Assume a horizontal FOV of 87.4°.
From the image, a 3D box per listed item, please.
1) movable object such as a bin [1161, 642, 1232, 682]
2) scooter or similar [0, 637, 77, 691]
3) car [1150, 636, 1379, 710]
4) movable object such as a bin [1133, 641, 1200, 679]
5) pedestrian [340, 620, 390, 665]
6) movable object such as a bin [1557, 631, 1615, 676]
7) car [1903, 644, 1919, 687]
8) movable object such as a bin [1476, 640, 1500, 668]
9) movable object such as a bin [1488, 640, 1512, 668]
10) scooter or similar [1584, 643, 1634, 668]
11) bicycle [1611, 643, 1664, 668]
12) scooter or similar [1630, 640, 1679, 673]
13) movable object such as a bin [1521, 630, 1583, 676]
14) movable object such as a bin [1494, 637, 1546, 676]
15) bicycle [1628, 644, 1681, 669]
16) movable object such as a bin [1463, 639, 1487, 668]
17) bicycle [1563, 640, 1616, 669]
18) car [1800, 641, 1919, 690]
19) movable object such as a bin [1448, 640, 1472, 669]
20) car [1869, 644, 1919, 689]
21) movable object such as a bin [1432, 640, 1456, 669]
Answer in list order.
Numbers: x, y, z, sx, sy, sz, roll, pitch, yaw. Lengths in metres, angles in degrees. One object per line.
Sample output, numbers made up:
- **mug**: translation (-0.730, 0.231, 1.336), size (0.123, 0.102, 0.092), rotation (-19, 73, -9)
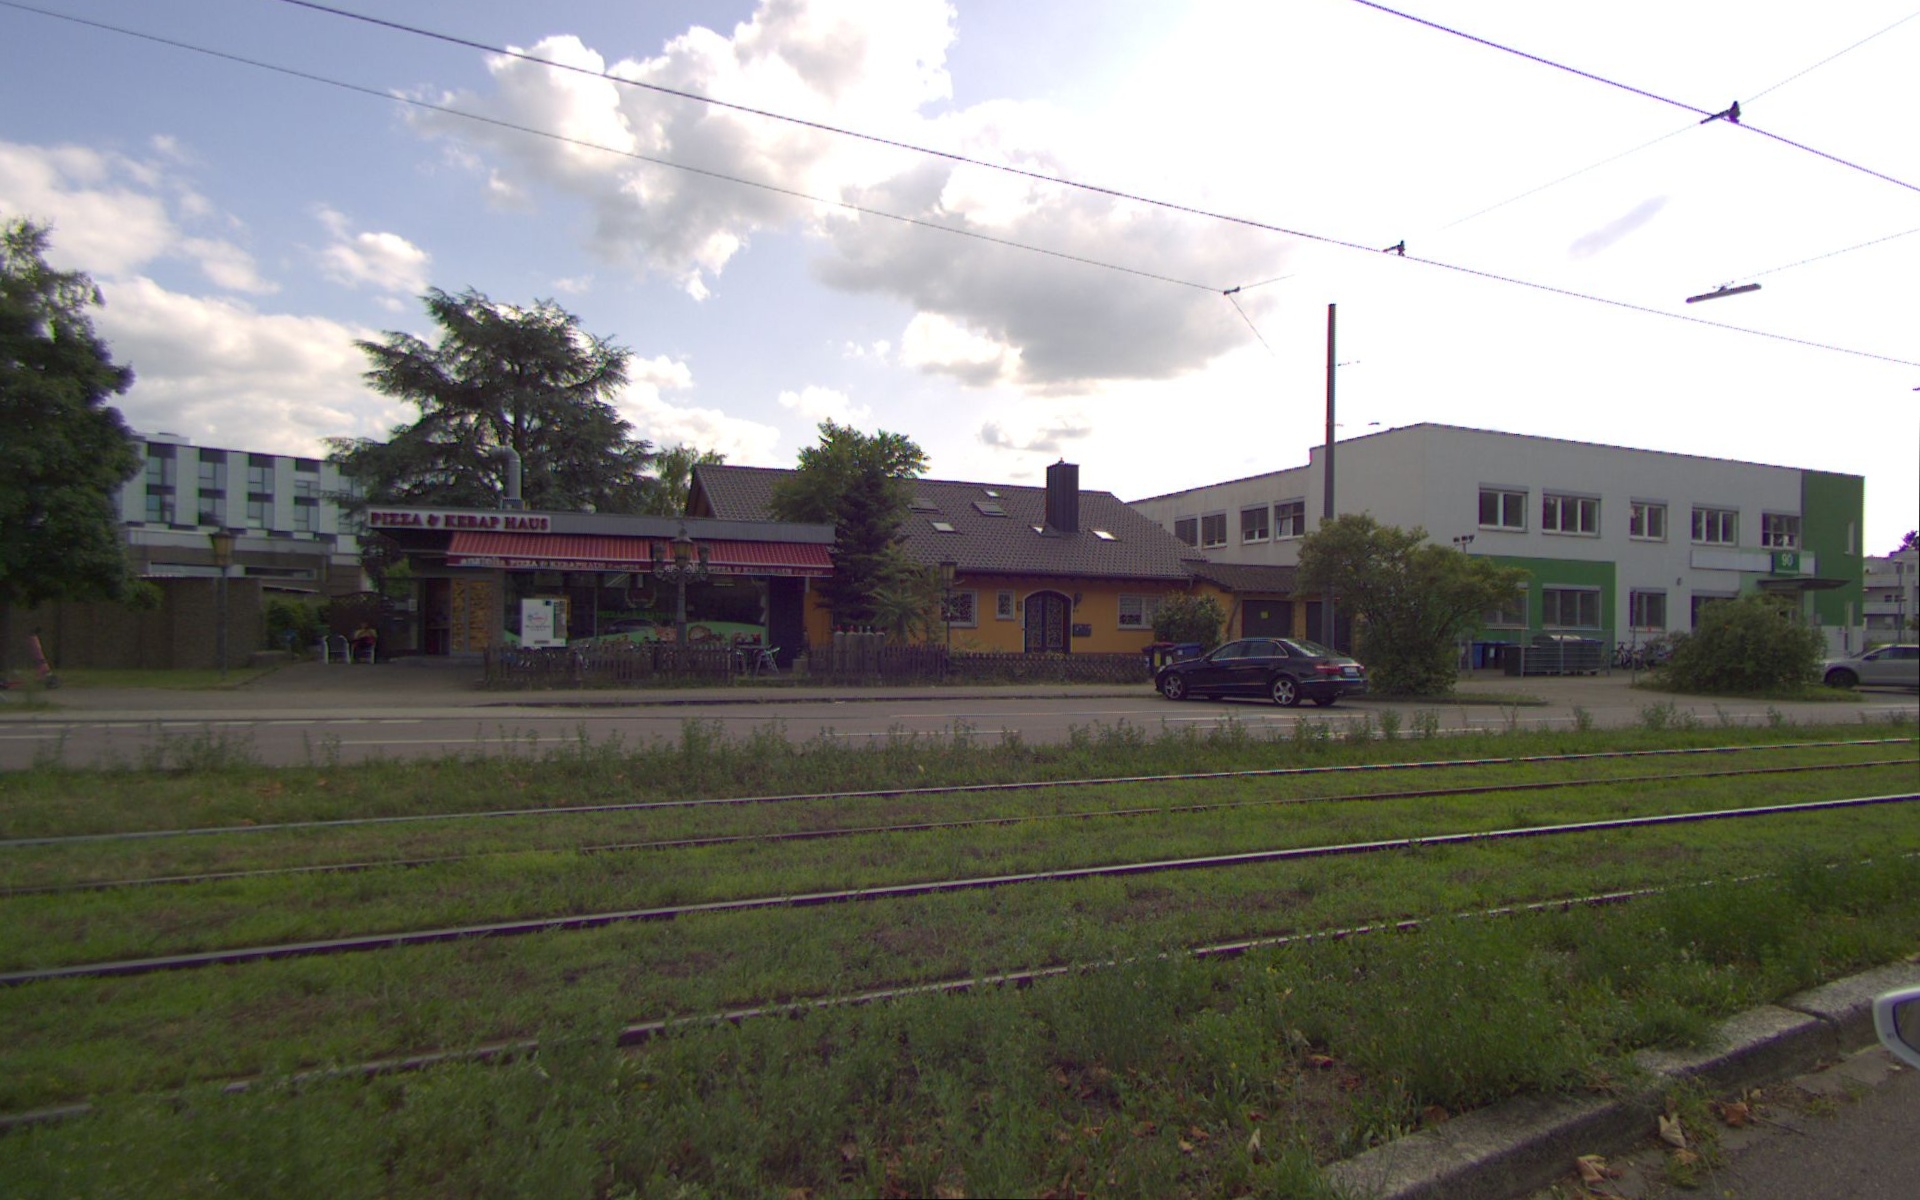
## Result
- **movable object such as a bin**: translation (6.867, 1.780, 29.184), size (1.595, 1.115, 1.251), rotation (1, -1, -23)
- **scooter or similar**: translation (-18.197, 1.254, 19.731), size (1.201, 1.047, 0.427), rotation (1, -1, -12)
- **car**: translation (6.648, 1.555, 22.328), size (1.869, 1.425, 4.595), rotation (4, -3, -41)
- **movable object such as a bin**: translation (6.271, 1.812, 30.520), size (1.595, 1.107, 1.251), rotation (1, -1, -23)
- **pedestrian**: translation (-15.802, 1.132, 26.724), size (0.918, 1.161, 1.151), rotation (1, -1, -20)
- **movable object such as a bin**: translation (22.389, 1.888, 35.935), size (1.580, 1.540, 1.004), rotation (0, 1, -20)
- **car**: translation (35.961, 2.332, 35.163), size (4.171, 1.501, 1.875), rotation (-1, -2, 40)
- **movable object such as a bin**: translation (20.263, 2.064, 38.553), size (0.556, 1.056, 0.567), rotation (0, 1, -21)
- **movable object such as a bin**: translation (20.868, 2.071, 38.801), size (0.556, 1.056, 0.567), rotation (0, 1, -21)
- **scooter or similar**: translation (26.227, 2.230, 40.621), size (0.452, 0.911, 1.732), rotation (2, 0, -21)
- **bicycle**: translation (27.665, 2.270, 41.071), size (0.452, 0.911, 1.855), rotation (2, 0, -21)
- **scooter or similar**: translation (27.014, 2.176, 39.087), size (1.072, 1.171, 1.307), rotation (2, 0, 7)
- **movable object such as a bin**: translation (20.826, 1.839, 35.343), size (1.685, 1.540, 1.004), rotation (0, 1, -20)
- **movable object such as a bin**: translation (19.405, 1.946, 34.817), size (1.237, 1.251, 1.005), rotation (0, 1, -19)
- **bicycle**: translation (28.699, 2.314, 41.521), size (0.452, 0.911, 1.855), rotation (2, 0, -21)
- **movable object such as a bin**: translation (19.655, 2.039, 38.338), size (0.556, 1.056, 0.567), rotation (0, 1, -21)
- **bicycle**: translation (24.948, 2.155, 39.851), size (0.452, 0.999, 1.855), rotation (2, 0, -21)
- **car**: translation (30.475, 2.138, 33.034), size (4.165, 1.501, 1.878), rotation (-1, -2, 35)
- **movable object such as a bin**: translation (18.939, 2.071, 38.066), size (0.556, 1.056, 0.567), rotation (0, 1, -21)
- **car**: translation (33.478, 2.254, 33.807), size (4.171, 1.501, 1.875), rotation (-1, -2, 40)
- **movable object such as a bin**: translation (18.228, 2.033, 37.810), size (0.556, 1.056, 0.567), rotation (0, 1, -21)
